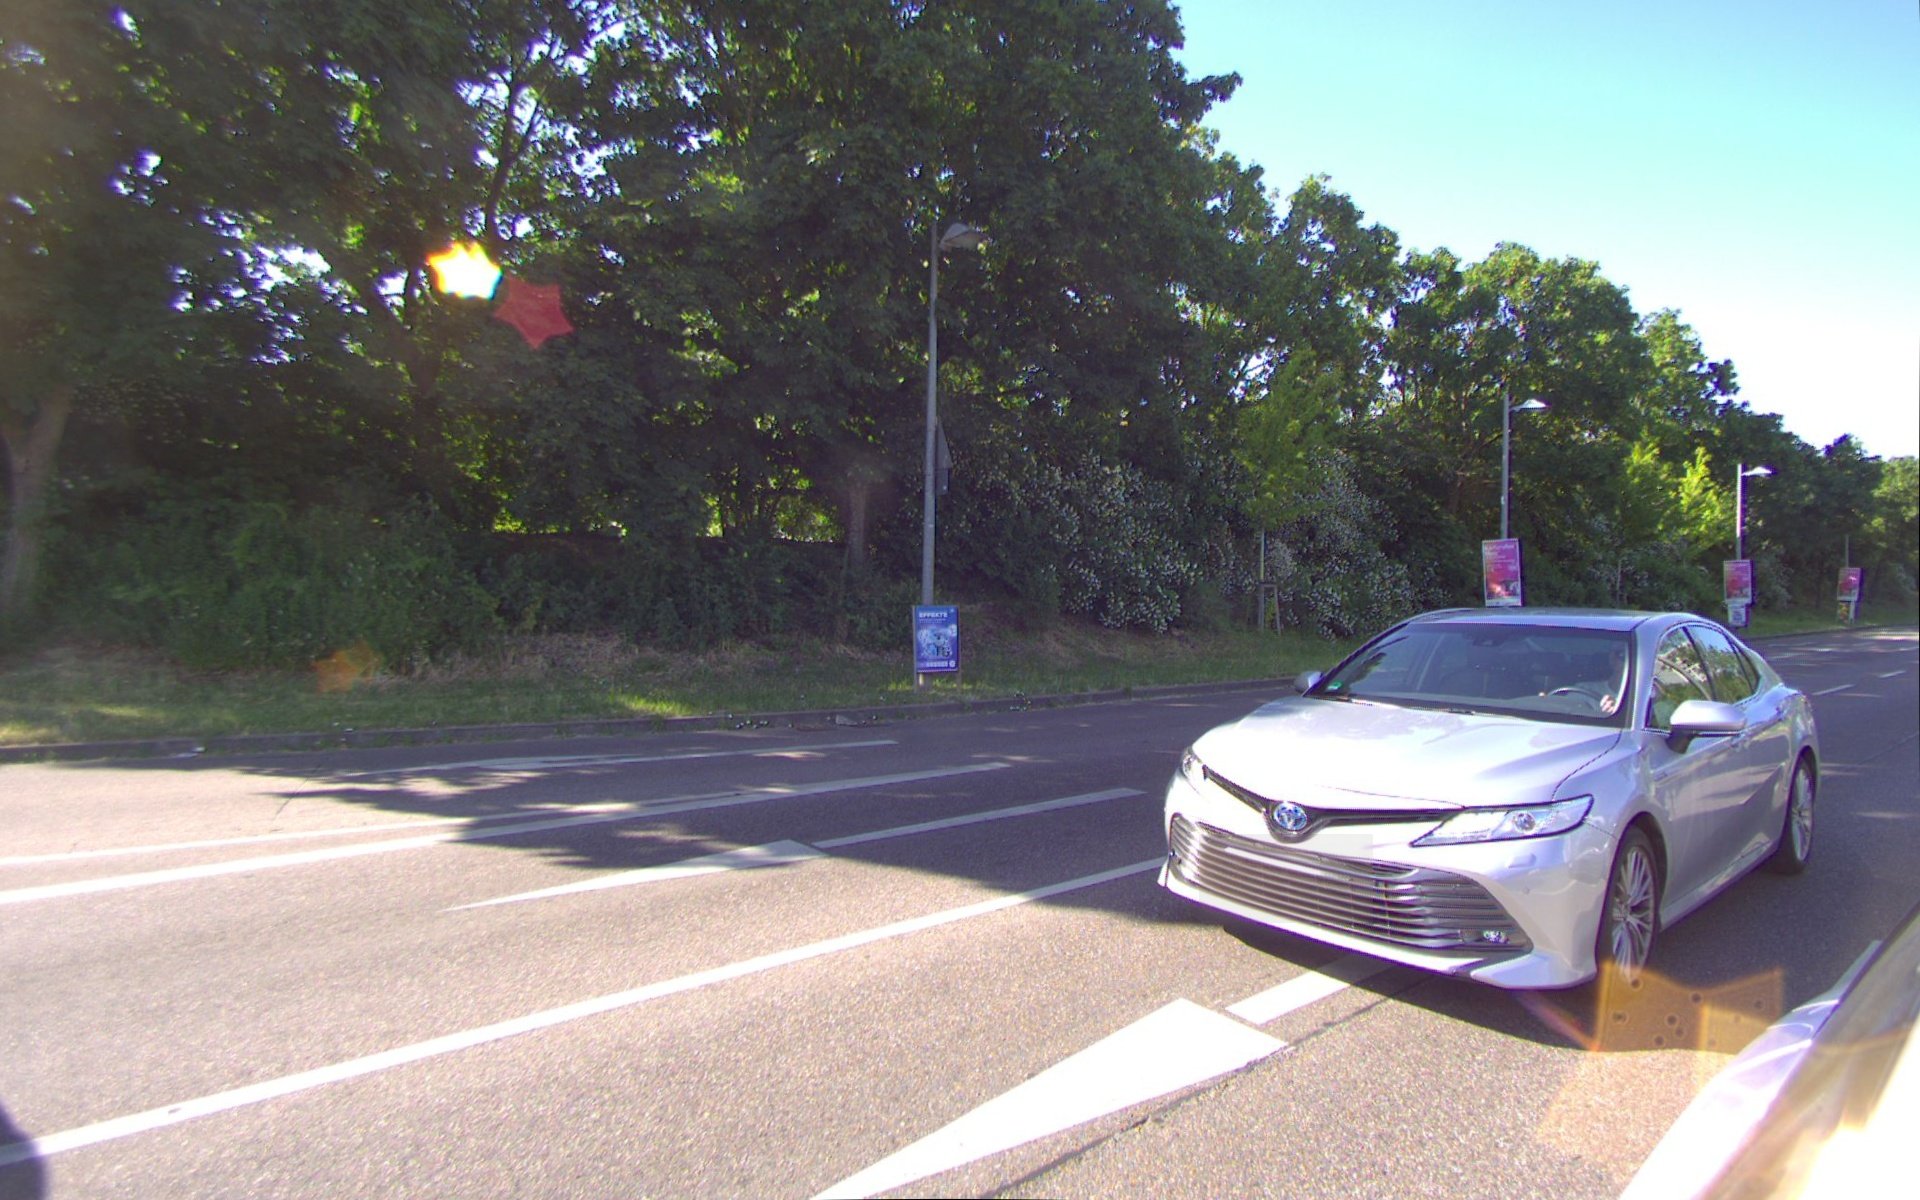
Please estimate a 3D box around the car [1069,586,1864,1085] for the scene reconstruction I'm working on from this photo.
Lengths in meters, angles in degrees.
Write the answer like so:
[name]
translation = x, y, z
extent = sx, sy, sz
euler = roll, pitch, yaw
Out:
[car]
translation = 2.954, 0.695, 5.359
extent = 4.664, 1.477, 2.069
euler = 0, 2, -40
